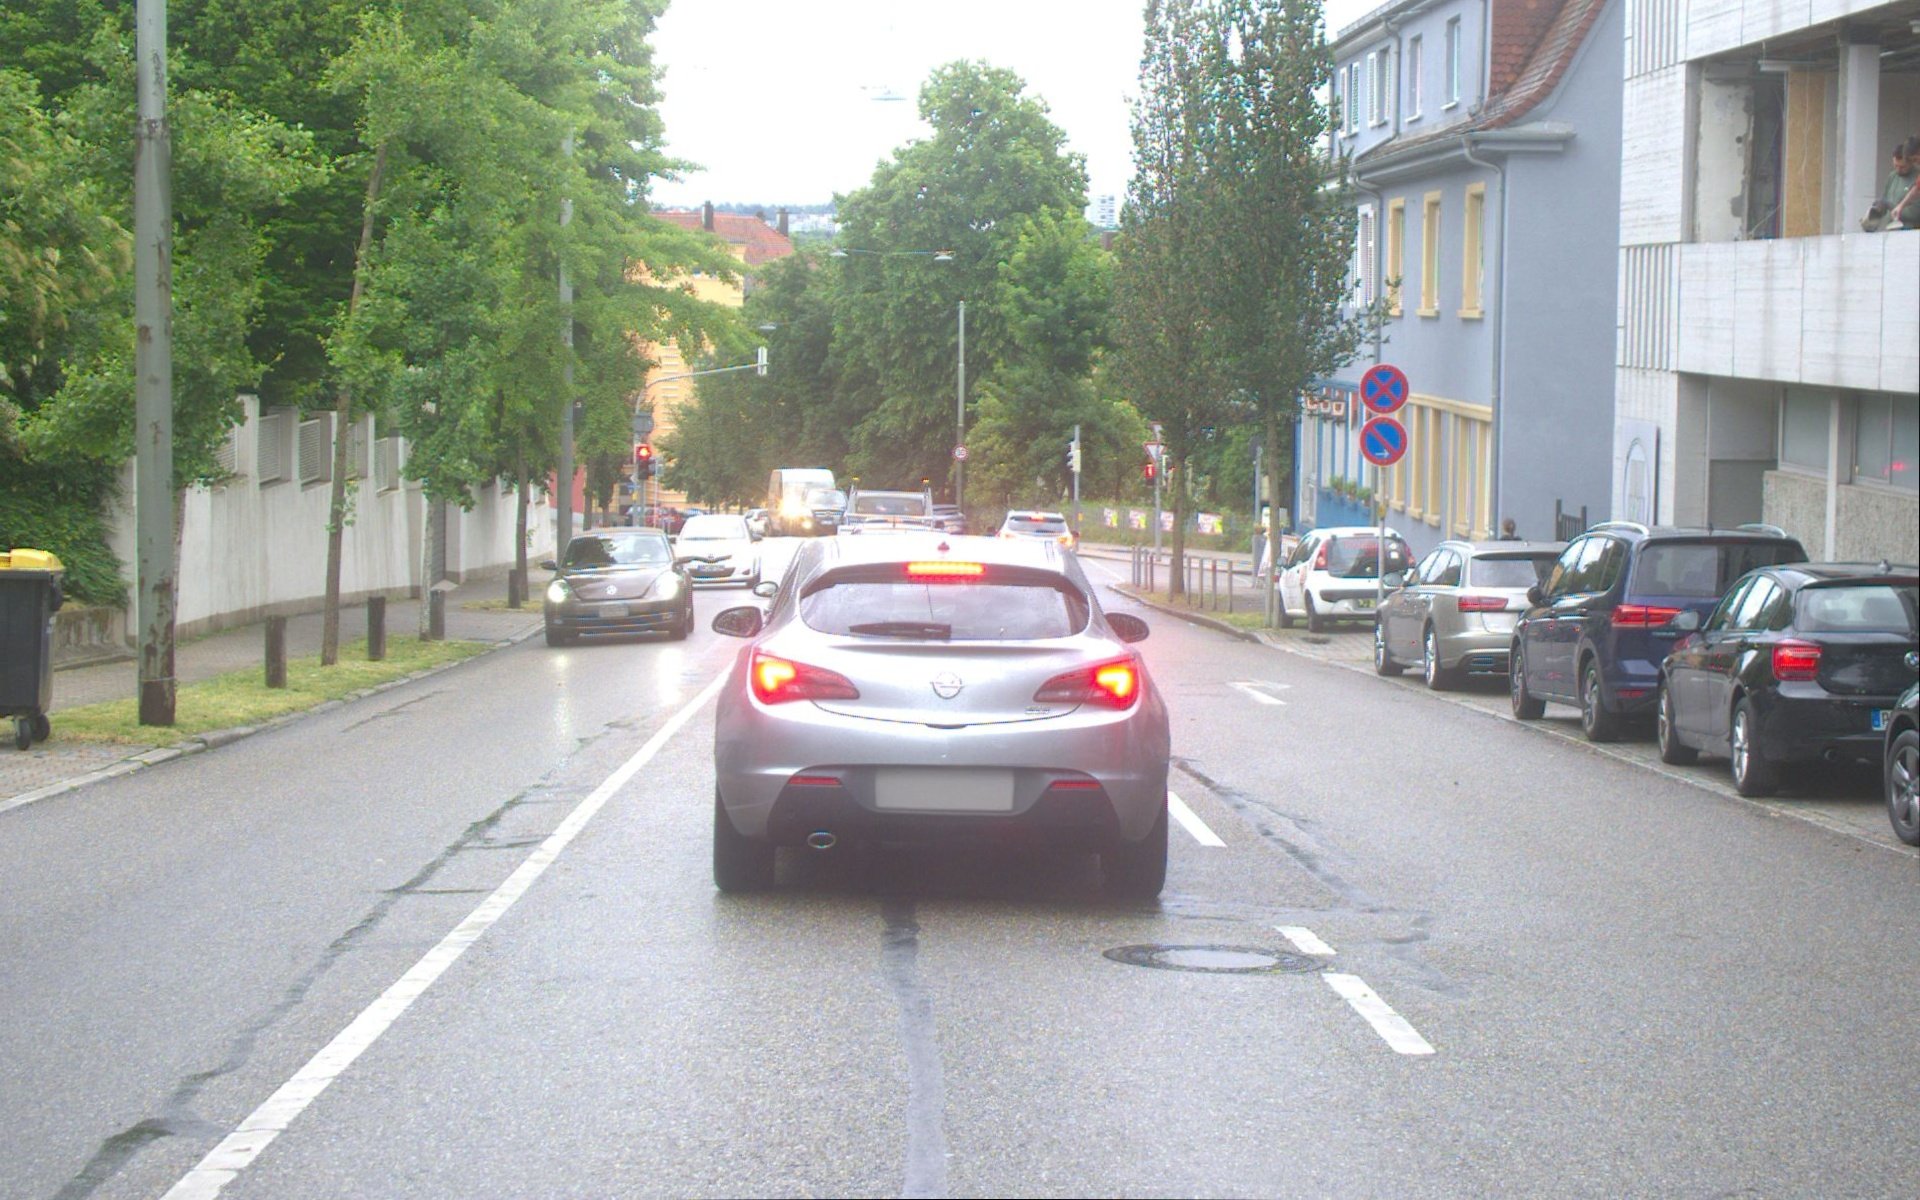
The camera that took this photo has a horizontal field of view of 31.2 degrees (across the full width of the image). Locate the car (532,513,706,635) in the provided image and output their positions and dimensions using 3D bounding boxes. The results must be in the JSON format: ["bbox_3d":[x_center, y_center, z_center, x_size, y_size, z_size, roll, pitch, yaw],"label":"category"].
[{"bbox_3d":[-4.436,-0.375,45.240,1.850,1.464,4.088,-2,1,0],"label":"car"}]

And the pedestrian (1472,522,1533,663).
[{"bbox_3d":[6.960,-0.102,44.149,0.645,1.778,0.542,1,2,0],"label":"pedestrian"}]

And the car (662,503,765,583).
[{"bbox_3d":[-5.054,-1.203,70.876,1.822,1.474,3.864,-3,2,0],"label":"car"}]

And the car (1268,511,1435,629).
[{"bbox_3d":[5.549,-0.463,49.190,1.906,1.565,4.001,0,2,0],"label":"car"}]

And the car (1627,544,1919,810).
[{"bbox_3d":[5.537,0.420,22.122,1.681,1.459,4.001,0,2,0],"label":"car"}]

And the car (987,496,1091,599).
[{"bbox_3d":[1.716,-1.201,76.294,1.993,2.029,4.736,4,2,-1],"label":"car"}]

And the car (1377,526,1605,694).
[{"bbox_3d":[5.235,0.051,34.351,1.584,1.488,4.290,0,2,0],"label":"car"}]

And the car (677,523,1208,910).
[{"bbox_3d":[-0.219,0.406,15.023,1.945,1.427,3.885,1,1,-6],"label":"car"}]

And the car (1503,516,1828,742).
[{"bbox_3d":[5.409,0.159,26.827,1.685,1.565,4.001,0,2,0],"label":"car"}]

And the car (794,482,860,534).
[{"bbox_3d":[-4.371,-3.047,113.651,1.993,1.530,4.309,4,2,-1],"label":"car"}]

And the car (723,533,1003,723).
[{"bbox_3d":[-0.833,0.170,26.835,1.797,1.318,4.001,2,1,-7],"label":"car"}]

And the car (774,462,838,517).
[{"bbox_3d":[-5.379,-3.897,120.798,1.993,1.778,4.001,4,2,-1],"label":"car"}]

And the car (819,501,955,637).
[{"bbox_3d":[-1.125,-0.500,51.101,1.768,1.775,3.977,4,2,-3],"label":"car"}]

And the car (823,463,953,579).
[{"bbox_3d":[-1.406,-1.594,67.511,2.334,2.029,4.736,4,2,-1],"label":"car"}]

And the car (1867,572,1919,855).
[{"bbox_3d":[5.687,0.608,16.391,1.503,1.430,4.001,0,1,-3],"label":"car"}]

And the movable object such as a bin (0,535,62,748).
[{"bbox_3d":[-6.703,0.253,22.941,1.272,1.382,0.489,2,2,-3],"label":"movable object such as a bin"}]
